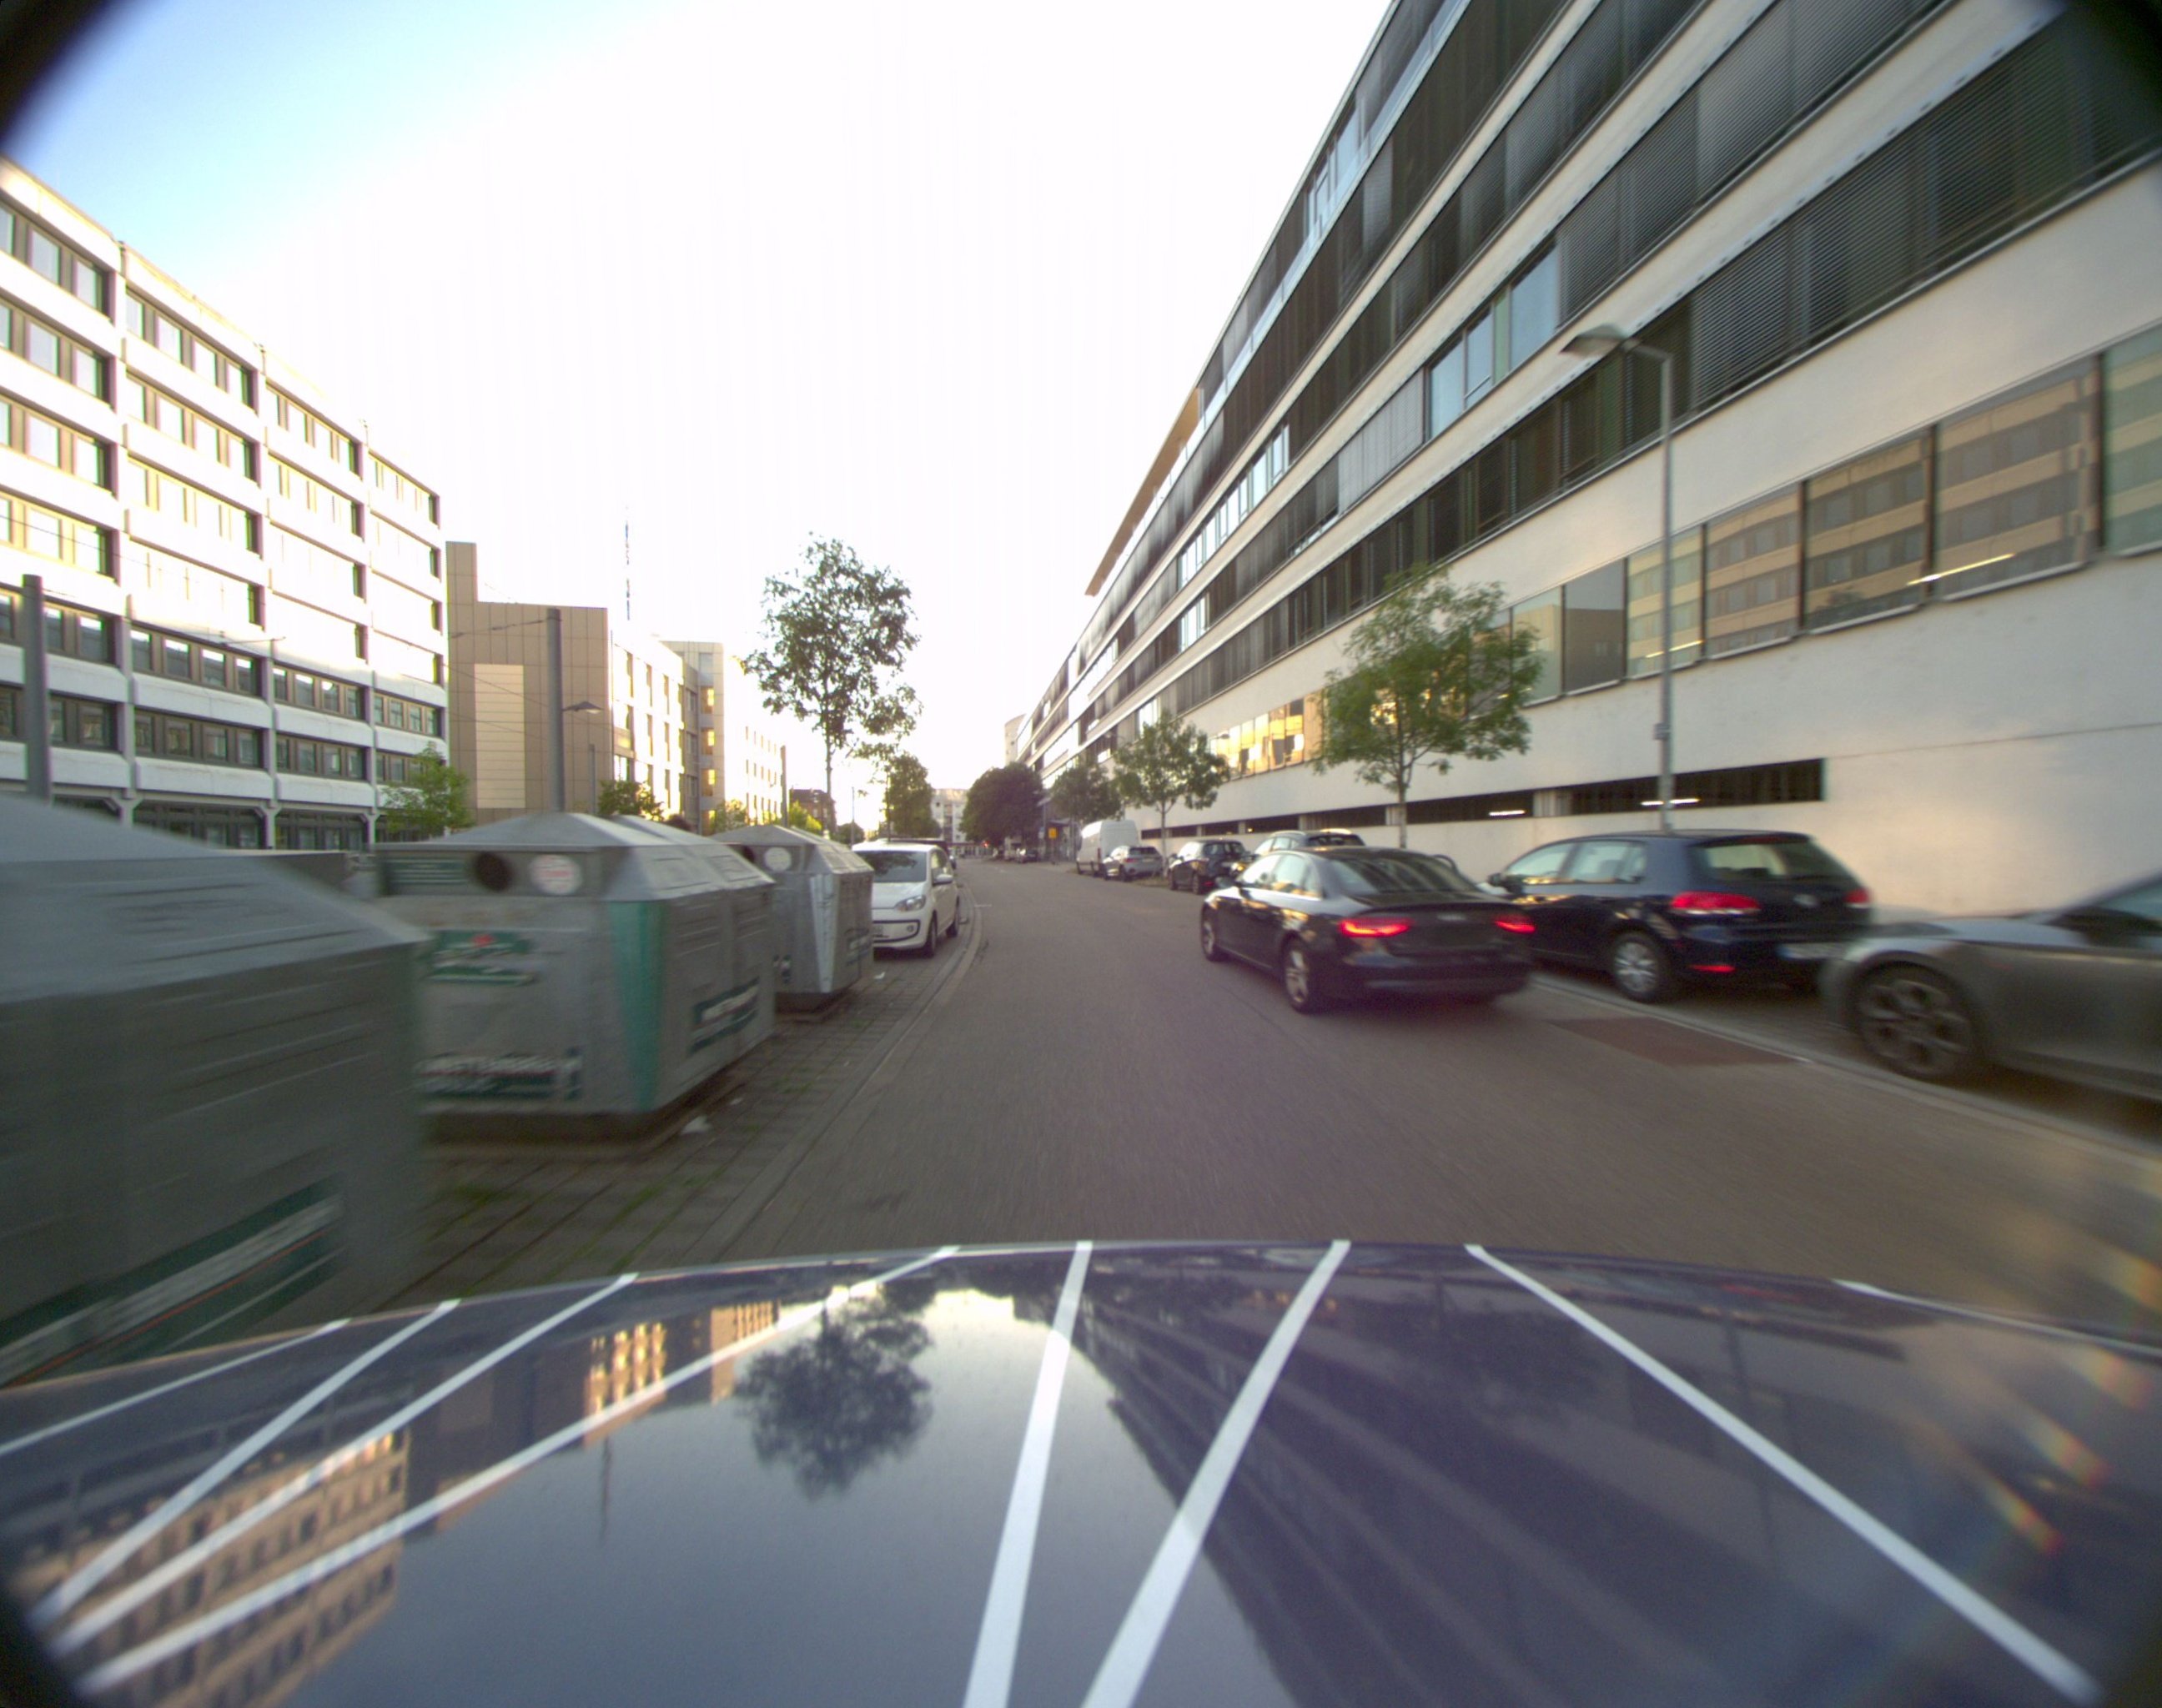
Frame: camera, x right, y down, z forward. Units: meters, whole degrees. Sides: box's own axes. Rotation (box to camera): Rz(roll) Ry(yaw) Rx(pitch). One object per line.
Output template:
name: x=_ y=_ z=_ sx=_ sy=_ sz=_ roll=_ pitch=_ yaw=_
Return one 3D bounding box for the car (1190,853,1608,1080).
car: x=2.547 y=0.762 z=7.571 sx=1.860 sy=1.489 sz=4.671 roll=0 pitch=1 yaw=-5

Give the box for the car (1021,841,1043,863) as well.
car: x=-4.731 y=-0.231 z=72.992 sx=2.000 sy=2.002 sz=3.997 roll=0 pitch=1 yaw=-6

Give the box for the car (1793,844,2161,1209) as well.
car: x=5.490 y=0.740 z=2.594 sx=1.865 sy=1.468 sz=4.519 roll=-2 pitch=1 yaw=0

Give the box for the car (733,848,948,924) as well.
car: x=-4.970 y=0.579 z=16.103 sx=1.713 sy=1.368 sz=4.008 roll=0 pitch=1 yaw=43

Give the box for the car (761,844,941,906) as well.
car: x=-5.693 y=0.459 z=19.153 sx=1.713 sy=1.368 sz=4.008 roll=0 pitch=1 yaw=43

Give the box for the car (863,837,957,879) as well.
car: x=-8.296 y=0.152 z=37.088 sx=4.182 sy=1.948 sz=1.713 roll=-1 pitch=1 yaw=-45

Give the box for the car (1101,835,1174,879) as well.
car: x=2.224 y=0.104 z=31.109 sx=1.798 sy=1.692 sz=3.994 roll=1 pitch=1 yaw=-14

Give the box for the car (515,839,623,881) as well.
car: x=-25.739 y=0.290 z=38.319 sx=4.001 sy=2.002 sz=1.998 roll=-1 pitch=1 yaw=-11

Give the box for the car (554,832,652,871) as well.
car: x=-25.769 y=-0.134 z=41.103 sx=4.001 sy=2.002 sz=1.998 roll=-1 pitch=1 yaw=-11

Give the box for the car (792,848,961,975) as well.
car: x=-2.724 y=0.673 z=10.834 sx=1.631 sy=1.503 sz=3.416 roll=0 pitch=1 yaw=-3

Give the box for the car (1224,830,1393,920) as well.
car: x=4.712 y=0.368 z=16.391 sx=1.798 sy=1.676 sz=3.995 roll=0 pitch=1 yaw=-12

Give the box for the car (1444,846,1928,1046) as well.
car: x=5.394 y=0.657 z=7.513 sx=1.652 sy=1.468 sz=3.764 roll=0 pitch=1 yaw=-3

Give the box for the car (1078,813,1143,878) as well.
car: x=1.297 y=-0.420 z=36.817 sx=2.006 sy=2.859 sz=6.249 roll=1 pitch=1 yaw=-8

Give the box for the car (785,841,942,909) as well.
car: x=-6.202 y=0.526 z=21.947 sx=4.008 sy=1.746 sz=1.713 roll=-1 pitch=1 yaw=-45

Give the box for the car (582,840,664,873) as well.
car: x=-29.056 y=0.161 z=48.332 sx=4.001 sy=2.002 sz=1.998 roll=-1 pitch=1 yaw=-11

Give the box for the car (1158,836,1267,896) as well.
car: x=3.754 y=0.303 z=22.478 sx=1.798 sy=1.542 sz=3.995 roll=-3 pitch=1 yaw=-12

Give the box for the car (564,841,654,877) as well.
car: x=-27.649 y=0.289 z=44.609 sx=4.001 sy=2.002 sz=1.998 roll=-1 pitch=1 yaw=-11

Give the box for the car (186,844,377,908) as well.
car: x=-27.056 y=0.690 z=25.880 sx=4.001 sy=2.002 sz=1.998 roll=-1 pitch=1 yaw=-11

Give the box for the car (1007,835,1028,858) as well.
car: x=-7.388 y=-0.920 z=87.647 sx=2.000 sy=2.570 sz=3.995 roll=0 pitch=1 yaw=-11
